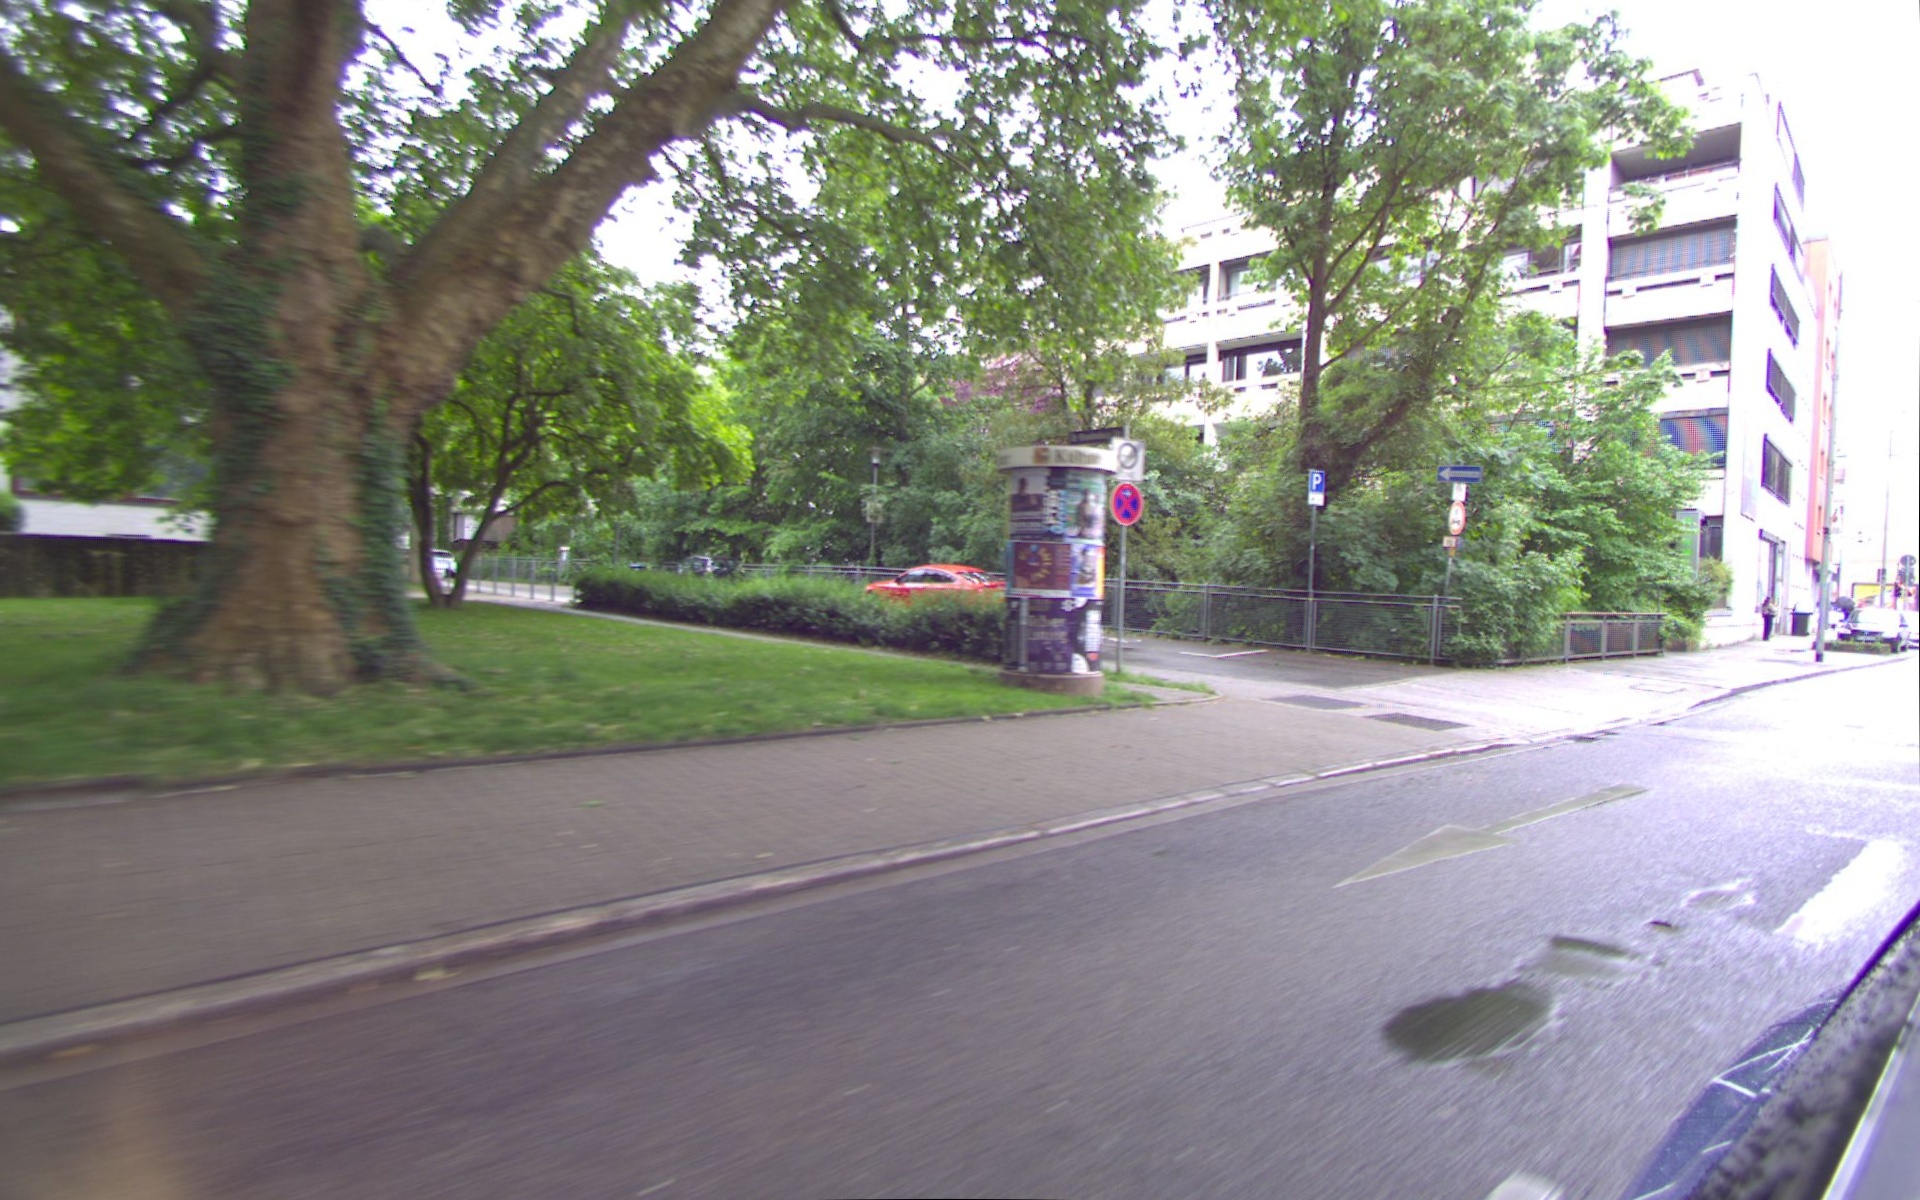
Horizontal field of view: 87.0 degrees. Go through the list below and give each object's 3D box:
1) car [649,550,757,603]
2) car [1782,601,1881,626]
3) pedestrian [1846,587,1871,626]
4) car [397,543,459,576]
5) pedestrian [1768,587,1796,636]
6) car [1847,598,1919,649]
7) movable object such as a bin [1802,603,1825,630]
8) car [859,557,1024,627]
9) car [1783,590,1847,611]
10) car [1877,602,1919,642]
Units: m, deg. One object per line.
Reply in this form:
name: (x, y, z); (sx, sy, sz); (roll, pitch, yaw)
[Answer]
car: (-8.590, -0.792, 33.682); (1.707, 1.590, 3.925); (1, 3, -45)
car: (57.199, 0.855, 66.484); (1.726, 1.588, 4.687); (1, 0, -39)
pedestrian: (51.079, 0.350, 57.544); (0.797, 2.180, 0.732); (2, 1, 26)
car: (-27.906, -2.133, 53.057); (3.923, 1.590, 1.708); (4, 3, 44)
pedestrian: (29.483, 0.418, 36.309); (0.598, 1.679, 0.681); (7, 4, 42)
car: (32.258, 0.791, 35.181); (3.740, 1.577, 1.705); (0, 3, -43)
movable object such as a bin: (36.741, 0.708, 43.578); (0.505, 1.117, 0.680); (1, 2, -42)
car: (-0.524, -0.255, 25.197); (3.989, 1.499, 1.847); (5, 4, 44)
car: (74.362, 0.031, 88.099); (1.801, 1.732, 3.800); (1, 2, -21)
car: (37.210, 0.856, 39.394); (4.492, 1.437, 1.834); (1, 3, -43)
